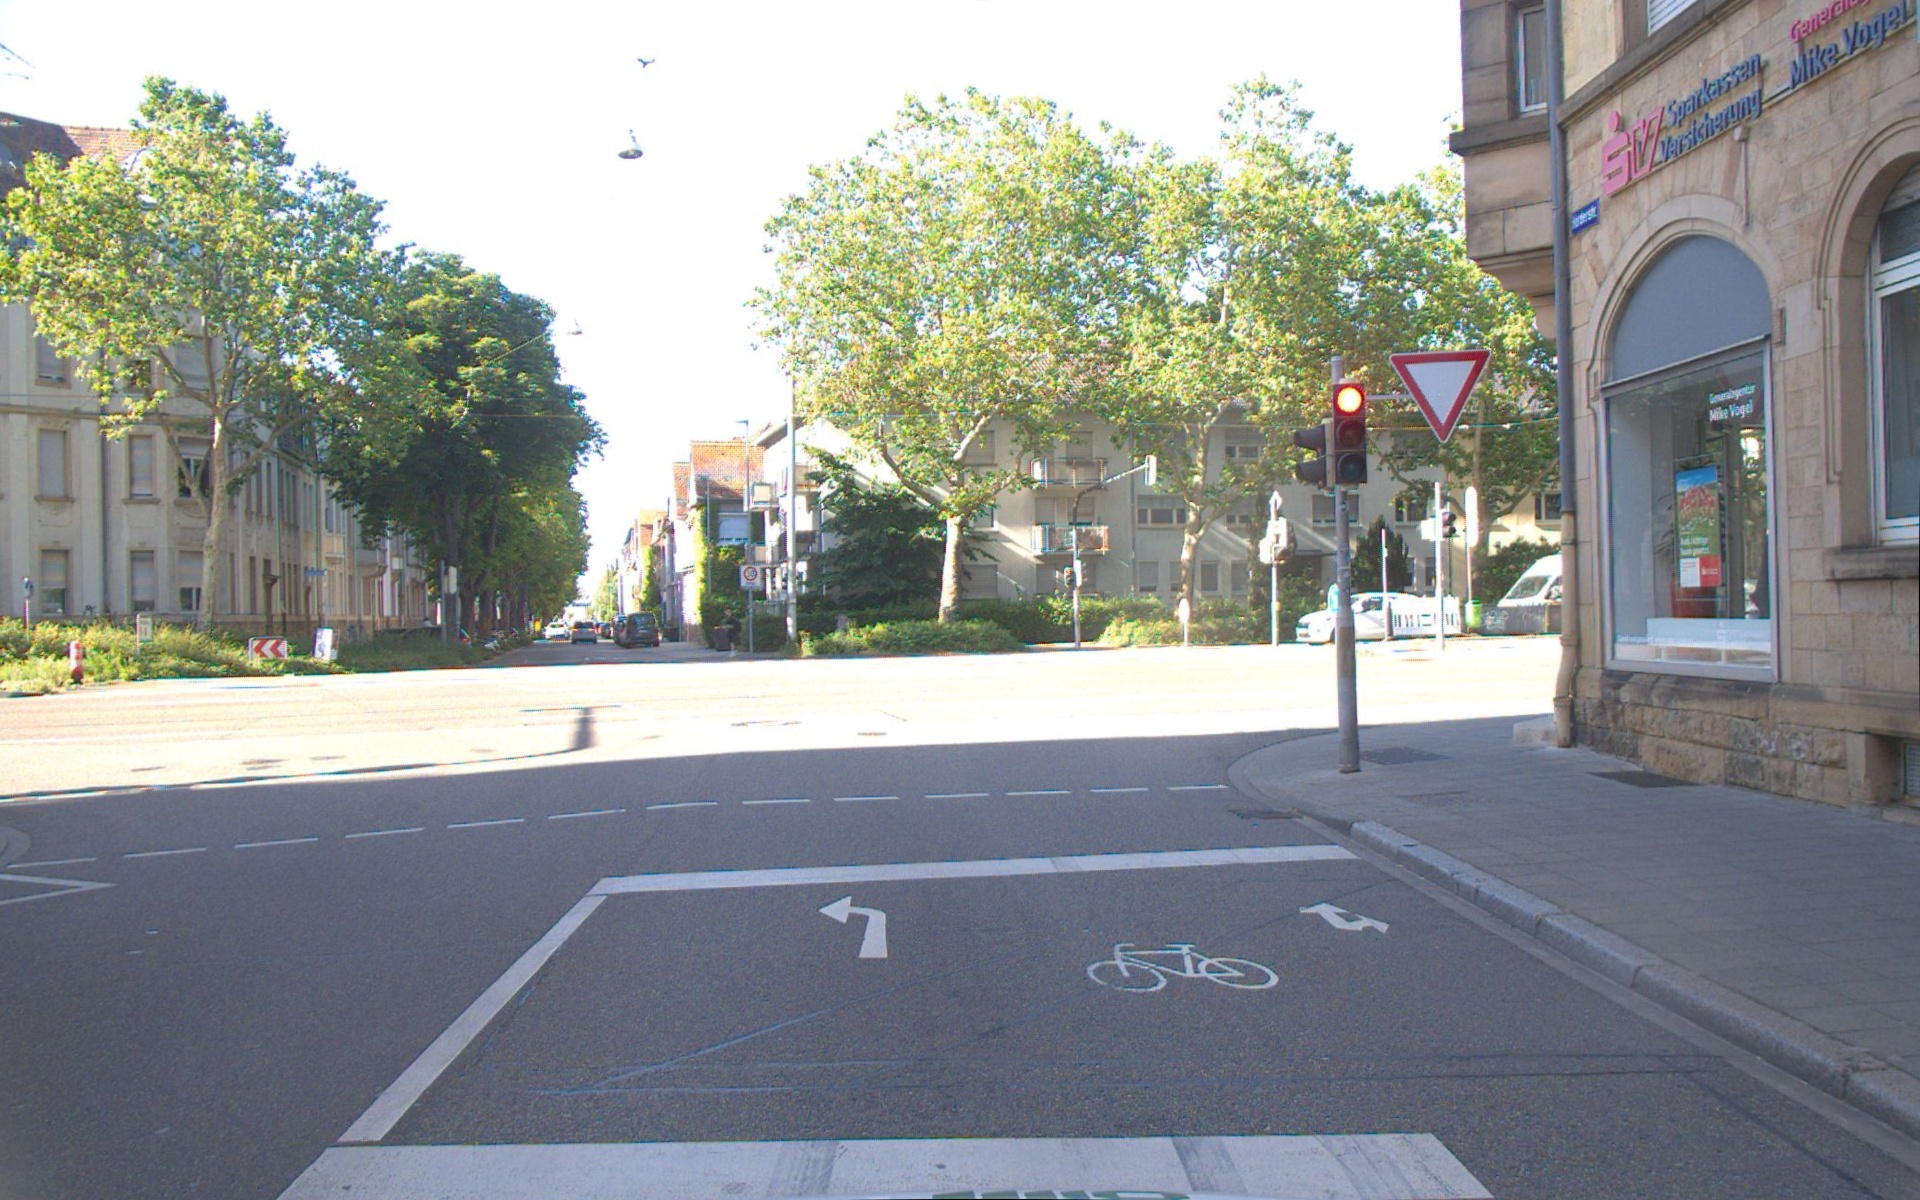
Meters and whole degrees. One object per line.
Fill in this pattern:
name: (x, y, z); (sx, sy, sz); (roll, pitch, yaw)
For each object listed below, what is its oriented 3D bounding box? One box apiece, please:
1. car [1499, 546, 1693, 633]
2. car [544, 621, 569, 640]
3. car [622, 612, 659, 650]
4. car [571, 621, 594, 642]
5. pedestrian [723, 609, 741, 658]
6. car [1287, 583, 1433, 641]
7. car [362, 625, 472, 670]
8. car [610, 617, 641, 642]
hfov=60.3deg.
car: (20.503, -0.354, 53.319); (5.949, 2.613, 1.989); (-2, 0, -19)
car: (-33.959, 2.553, 139.052); (1.961, 1.471, 3.984); (-2, 0, -15)
car: (-18.330, 1.727, 94.909); (1.958, 2.049, 3.990); (-2, 0, -10)
car: (-28.325, 2.357, 124.083); (1.645, 1.509, 3.509); (0, -1, -14)
pedestrian: (-8.362, 1.210, 60.703); (0.621, 1.780, 0.658); (0, -1, -5)
car: (11.365, 0.342, 47.042); (3.725, 1.498, 1.623); (-2, 0, -15)
car: (-20.820, 1.800, 63.486); (3.928, 1.512, 1.672); (-2, 0, -20)
car: (-25.391, 2.238, 125.451); (1.962, 1.865, 3.981); (0, -1, -17)
